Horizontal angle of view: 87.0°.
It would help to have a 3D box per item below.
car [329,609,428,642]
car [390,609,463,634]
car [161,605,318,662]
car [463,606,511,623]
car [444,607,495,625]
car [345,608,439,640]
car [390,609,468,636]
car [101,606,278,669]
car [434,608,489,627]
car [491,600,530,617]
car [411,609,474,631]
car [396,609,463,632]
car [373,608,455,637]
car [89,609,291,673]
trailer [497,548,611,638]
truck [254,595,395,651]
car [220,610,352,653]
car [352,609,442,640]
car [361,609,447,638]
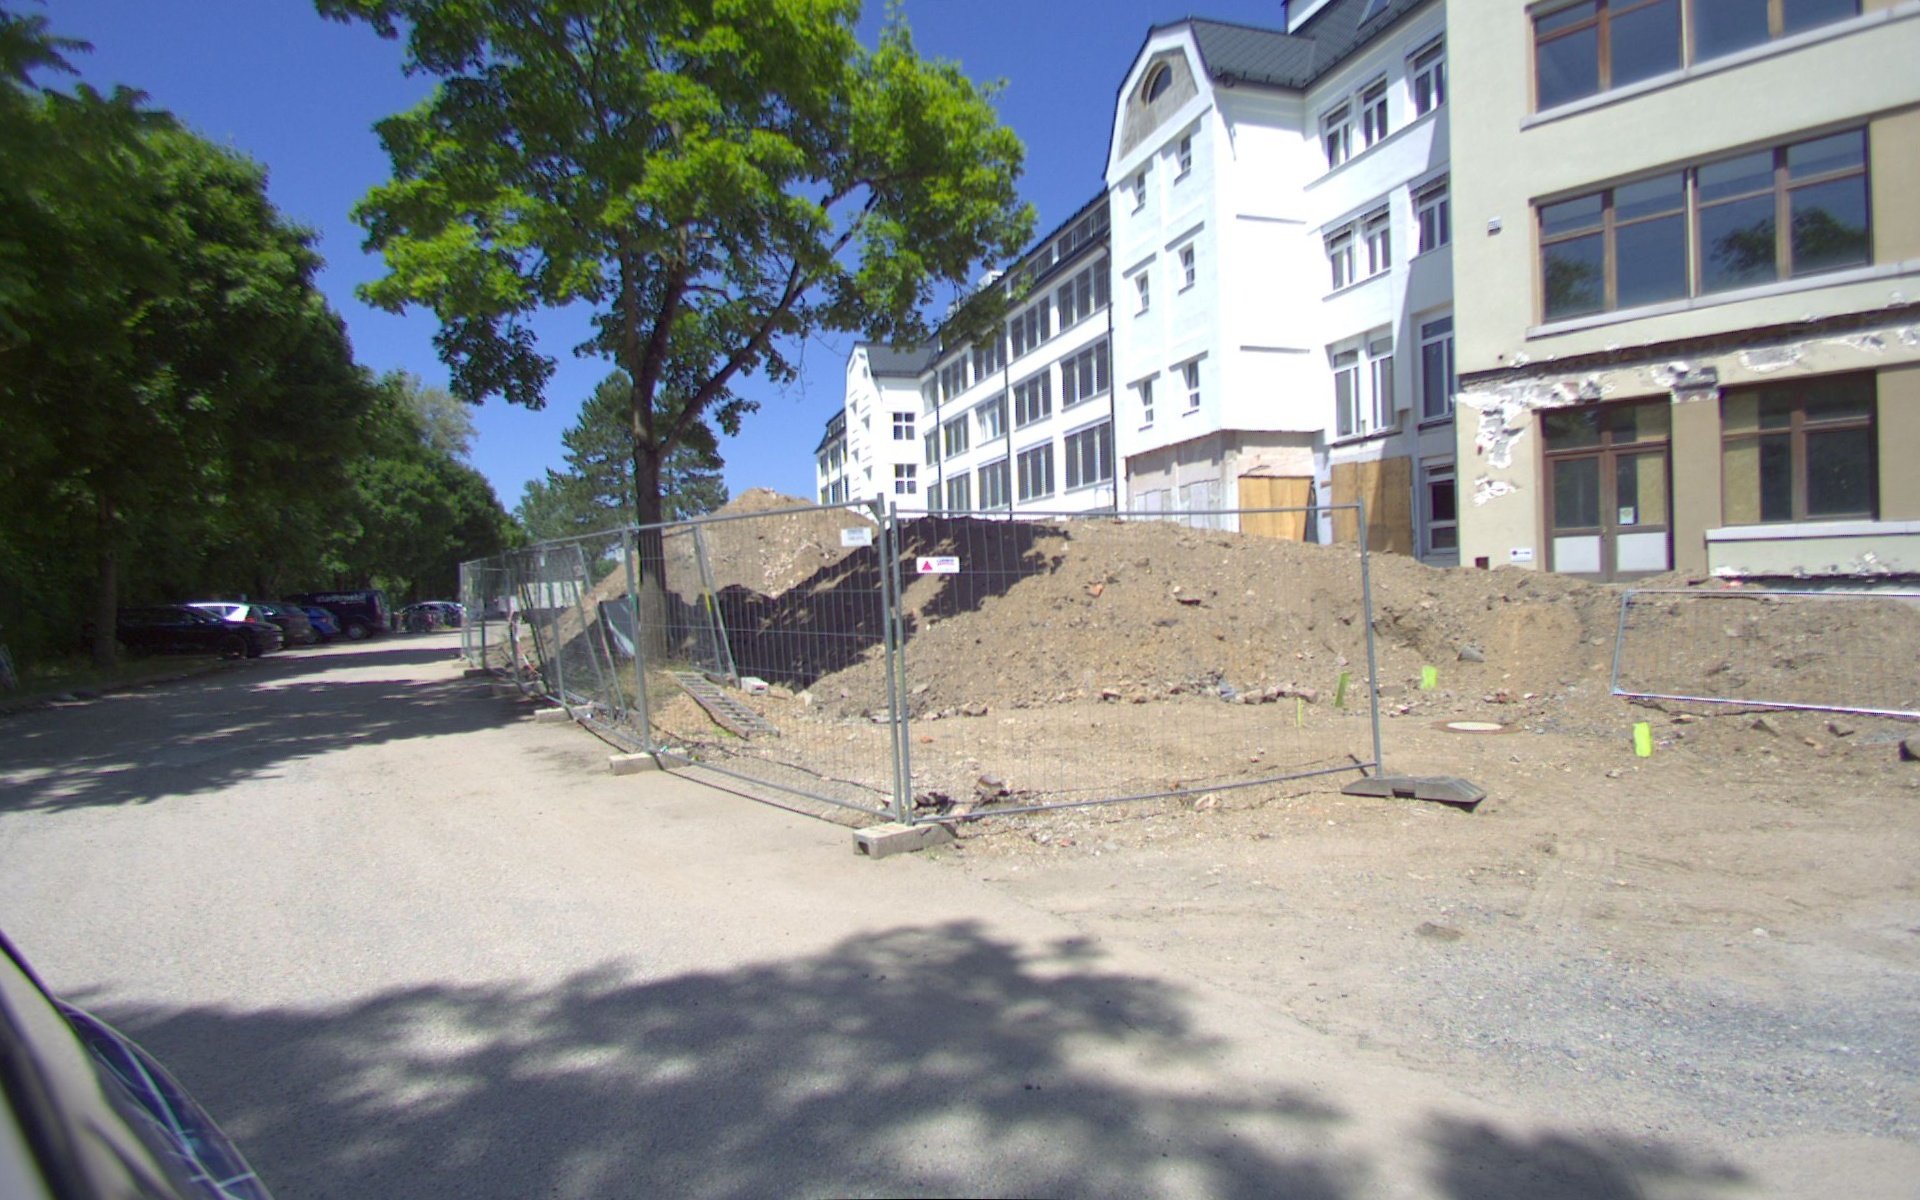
[{"bbox_3d":[-27.389,1.191,47.780,3.725,1.420,1.746,-2,0,-18],"label":"car"},{"bbox_3d":[-33.054,1.321,62.816,3.725,1.420,1.746,-2,0,-18],"label":"car"},{"bbox_3d":[-23.092,1.038,32.586,3.725,1.647,1.854,-2,0,-20],"label":"car"},{"bbox_3d":[-43.423,1.345,92.950,3.725,1.420,1.746,-2,0,-18],"label":"car"},{"bbox_3d":[-41.662,1.364,86.033,3.725,1.420,1.746,-2,0,-18],"label":"car"},{"bbox_3d":[-27.955,1.185,49.926,3.725,1.420,1.746,-2,0,-18],"label":"car"},{"bbox_3d":[-31.003,1.306,59.184,3.725,1.420,1.746,-2,0,-18],"label":"car"},{"bbox_3d":[-22.566,1.050,29.809,3.725,1.647,1.854,-2,0,-20],"label":"car"},{"bbox_3d":[-39.932,1.372,81.147,3.725,1.420,1.746,-2,0,-18],"label":"car"},{"bbox_3d":[-49.398,0.935,111.281,3.725,1.734,1.746,-2,0,-18],"label":"car"},{"bbox_3d":[-36.310,1.370,71.085,3.725,1.420,1.746,-2,0,-18],"label":"car"},{"bbox_3d":[-35.688,1.366,68.173,3.725,1.420,1.746,-2,0,-18],"label":"car"},{"bbox_3d":[-30.020,1.223,55.749,3.725,1.420,1.746,-2,0,-18],"label":"car"},{"bbox_3d":[-20.460,1.056,27.068,3.931,1.514,1.695,-2,0,-19],"label":"car"},{"bbox_3d":[-17.215,-0.299,43.551,2.992,3.447,8.793,-1,0,-12],"label":"trailer"},{"bbox_3d":[-25.208,0.886,40.334,4.382,2.009,2.006,-2,0,-18],"label":"truck"},{"bbox_3d":[-24.884,1.145,37.518,3.725,1.420,1.746,-2,0,-20],"label":"car"},{"bbox_3d":[-28.805,1.231,51.909,3.725,1.420,1.746,-2,0,-18],"label":"car"},{"bbox_3d":[-29.497,1.225,53.797,3.725,1.420,1.746,-2,0,-18],"label":"car"}]
